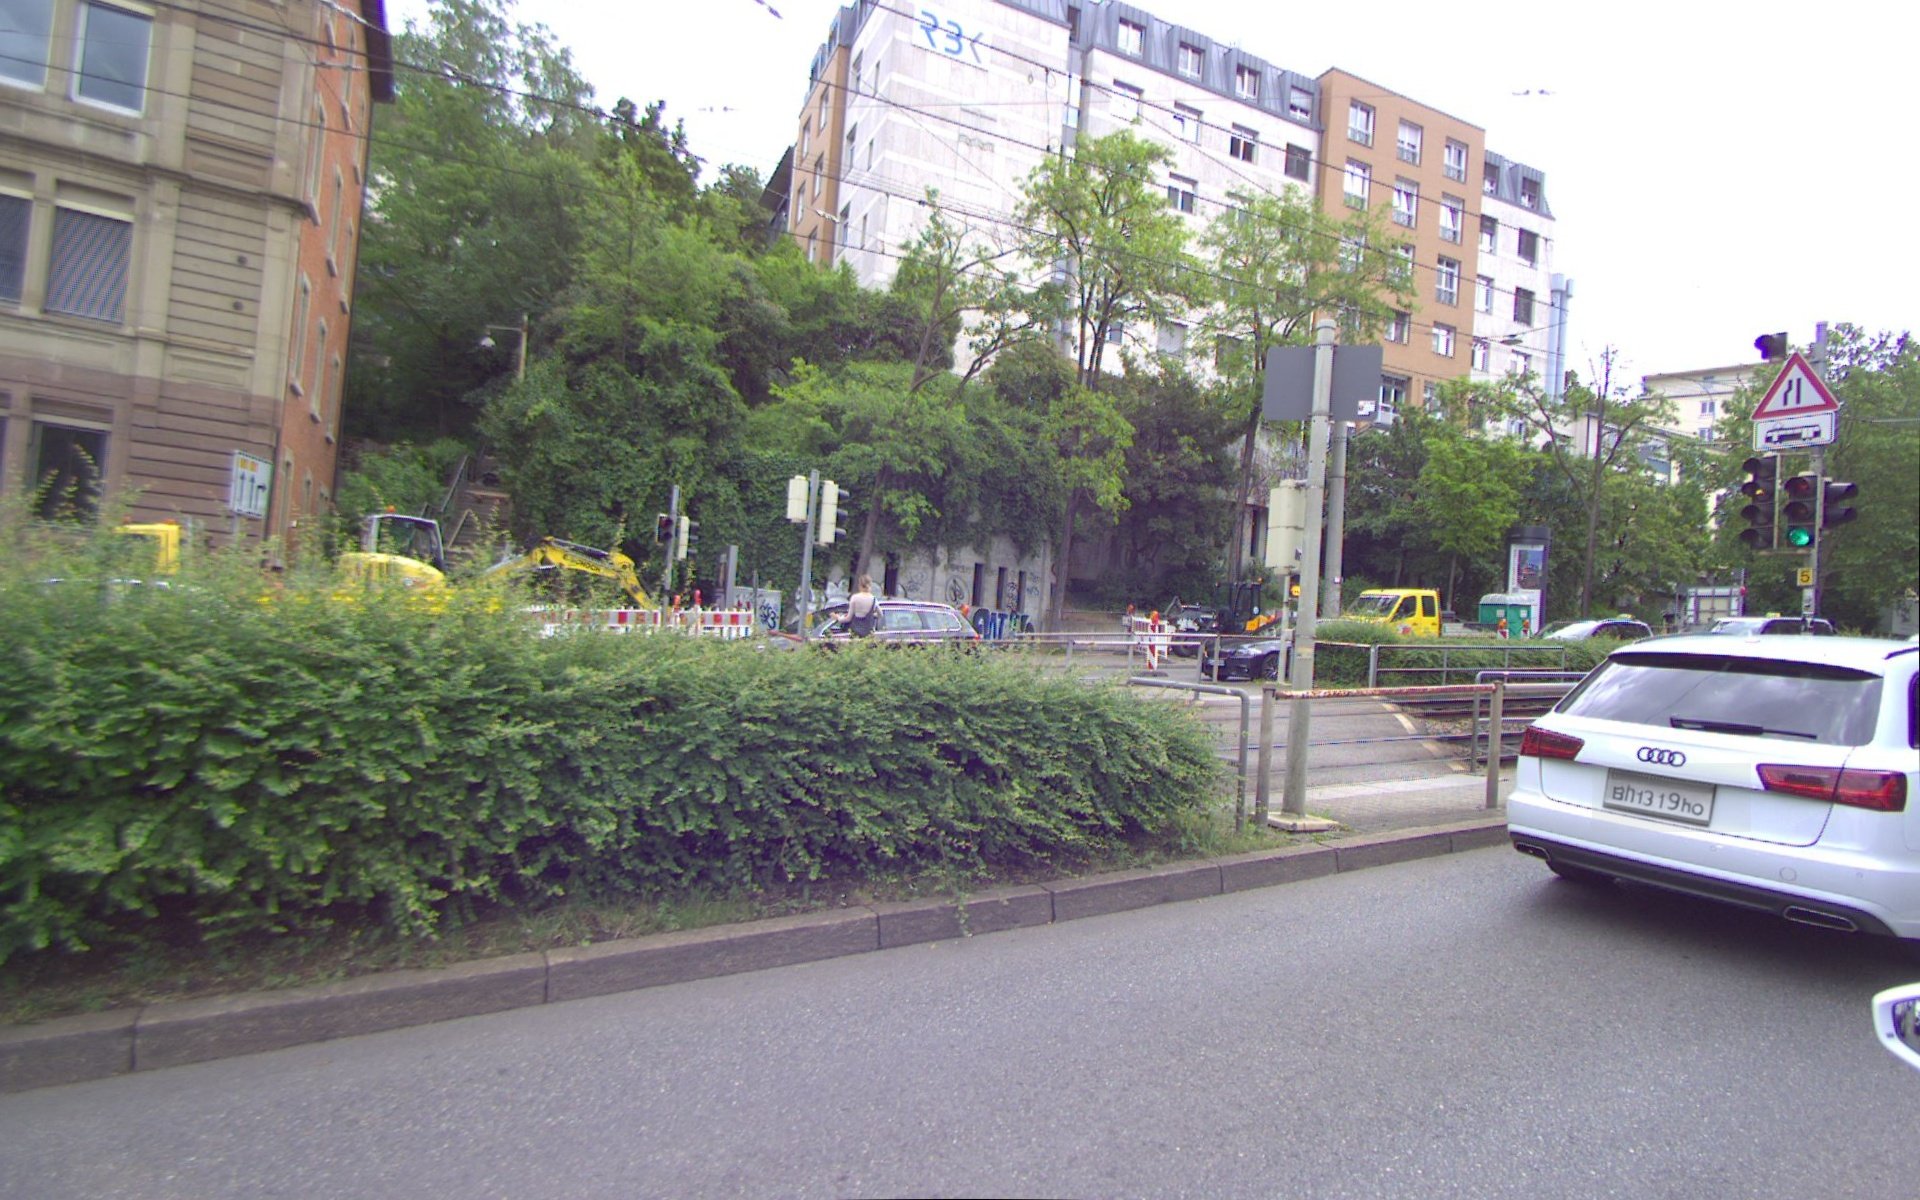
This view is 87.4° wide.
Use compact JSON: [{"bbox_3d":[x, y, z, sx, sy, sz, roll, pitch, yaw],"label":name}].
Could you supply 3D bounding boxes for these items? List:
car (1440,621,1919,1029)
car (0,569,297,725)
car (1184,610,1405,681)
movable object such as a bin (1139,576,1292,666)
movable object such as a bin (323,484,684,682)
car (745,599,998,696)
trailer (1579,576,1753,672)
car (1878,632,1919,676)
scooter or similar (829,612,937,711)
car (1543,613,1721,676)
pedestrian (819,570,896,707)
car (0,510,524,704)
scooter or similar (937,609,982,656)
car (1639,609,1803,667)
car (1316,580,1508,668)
[{"bbox_3d":[4.983,0.917,5.725,4.565,1.474,1.869,2,-1,-31],"label":"car"},{"bbox_3d":[-9.852,0.499,11.257,3.962,1.588,1.691,2,-1,-36],"label":"car"},{"bbox_3d":[7.480,1.037,22.382,4.783,1.454,1.875,2,-3,-27],"label":"car"},{"bbox_3d":[7.556,0.605,29.737,4.043,2.501,1.927,1,1,-26],"label":"movable object such as a bin"},{"bbox_3d":[-9.531,-0.232,21.389,6.496,3.595,2.723,2,-1,-40],"label":"movable object such as a bin"},{"bbox_3d":[-1.486,0.788,17.212,3.954,1.481,1.770,2,-1,-31],"label":"car"},{"bbox_3d":[23.681,0.818,33.667,5.508,3.013,2.015,2,1,-22],"label":"trailer"},{"bbox_3d":[33.700,1.870,34.647,3.686,1.462,1.655,2,-1,-23],"label":"car"},{"bbox_3d":[-1.100,0.847,14.211,1.472,1.313,0.532,1,-1,31],"label":"scooter or similar"},{"bbox_3d":[18.574,1.221,27.760,4.556,1.626,1.988,2,-1,-24],"label":"car"},{"bbox_3d":[-1.440,0.534,14.104,0.730,1.841,0.790,-1,-2,38],"label":"pedestrian"},{"bbox_3d":[-10.527,0.169,15.423,6.683,2.468,2.426,2,0,-34],"label":"car"},{"bbox_3d":[-0.002,0.902,28.212,1.282,1.307,0.423,1,0,-40],"label":"scooter or similar"},{"bbox_3d":[22.734,1.122,29.996,4.546,1.626,1.988,2,-1,-24],"label":"car"},{"bbox_3d":[14.662,0.811,32.483,6.252,2.628,2.150,2,-1,-26],"label":"car"}]
